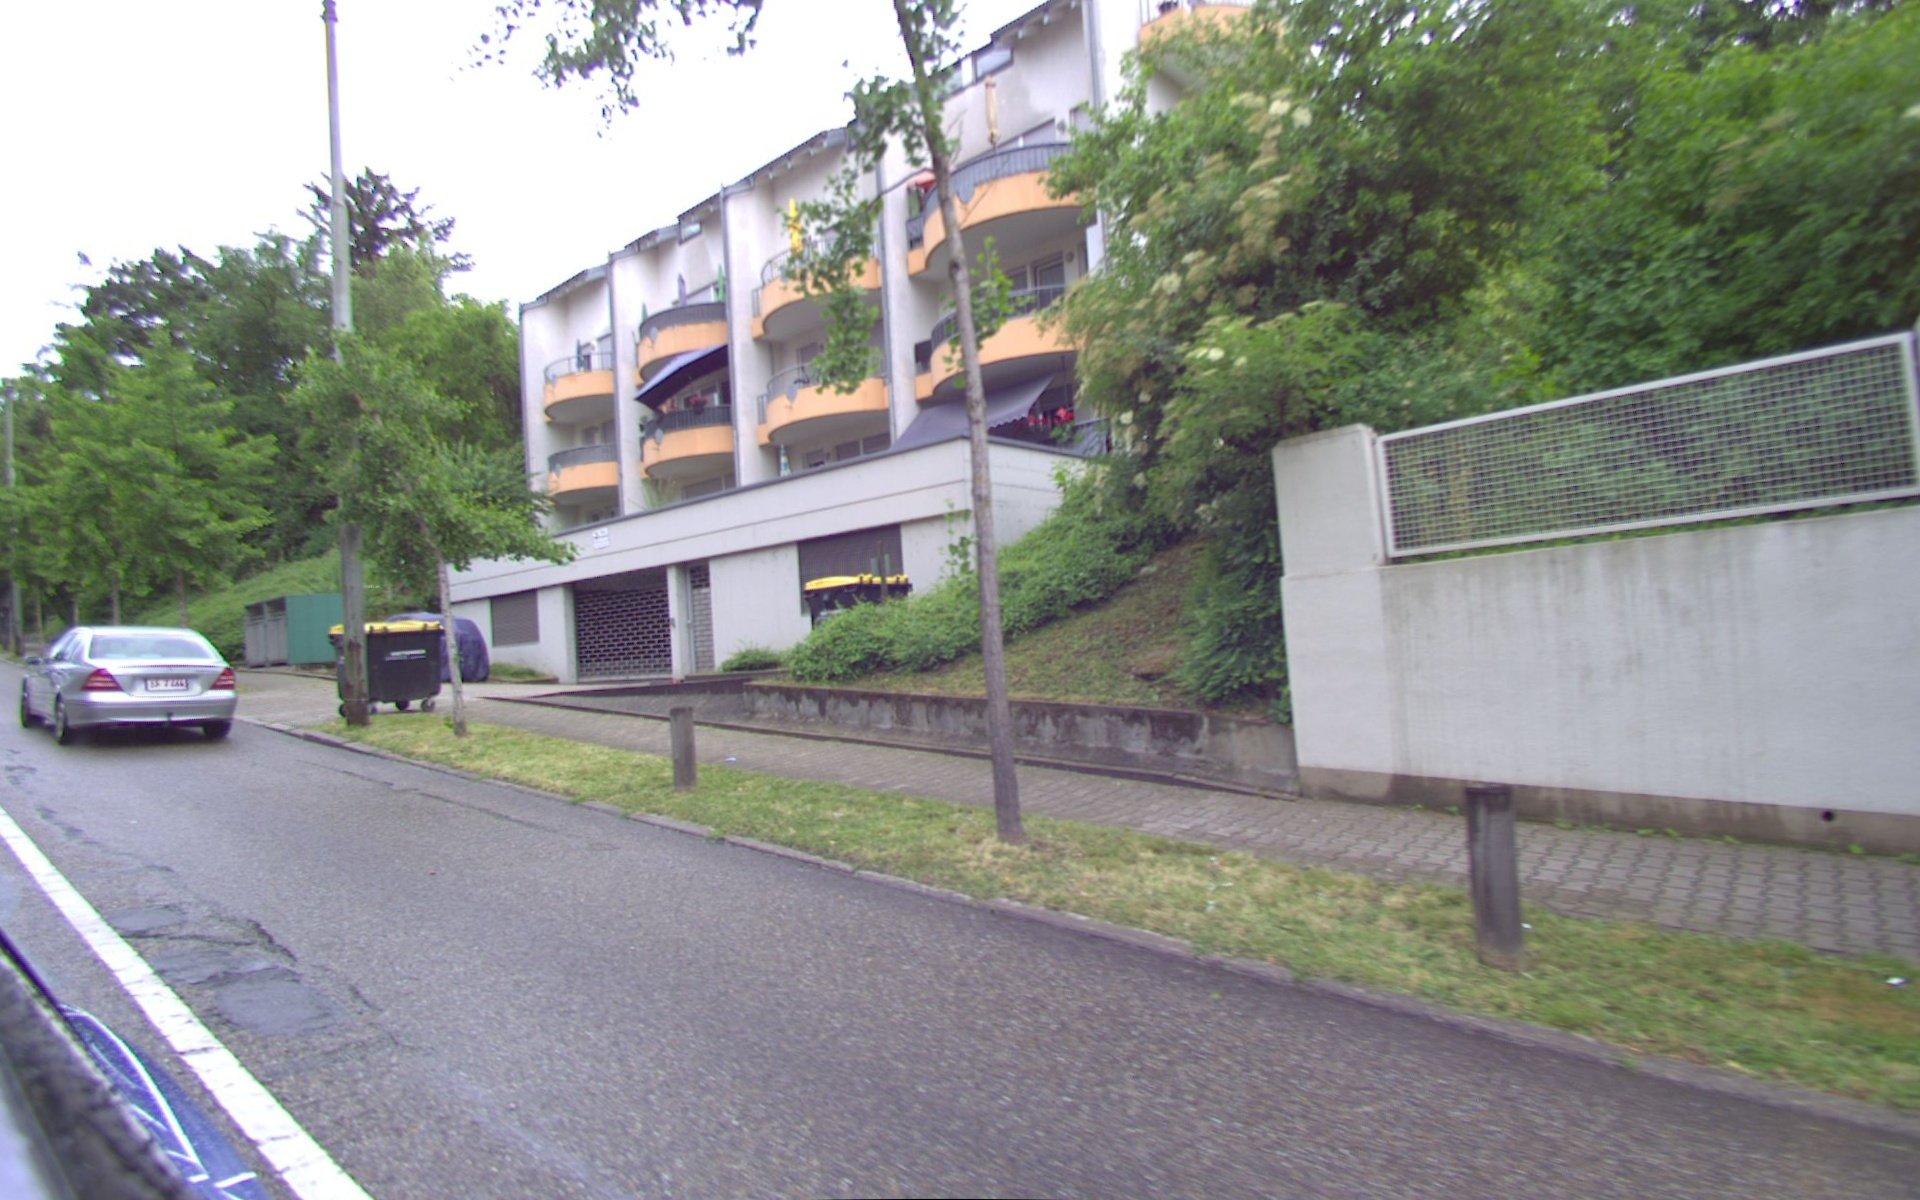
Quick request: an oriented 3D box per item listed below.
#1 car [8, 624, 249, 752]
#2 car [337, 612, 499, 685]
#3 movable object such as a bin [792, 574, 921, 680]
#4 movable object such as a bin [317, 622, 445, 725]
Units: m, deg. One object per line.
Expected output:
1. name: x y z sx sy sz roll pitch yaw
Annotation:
1. car: -10.909 1.075 13.167 4.283 1.395 1.701 -2 -5 42
2. car: -12.248 1.089 22.789 3.862 1.503 1.832 -1 -5 40
3. movable object such as a bin: -1.412 0.364 13.940 1.159 1.325 1.252 -6 -3 33
4. movable object such as a bin: -8.321 1.014 14.559 1.120 1.360 1.213 -1 0 33
